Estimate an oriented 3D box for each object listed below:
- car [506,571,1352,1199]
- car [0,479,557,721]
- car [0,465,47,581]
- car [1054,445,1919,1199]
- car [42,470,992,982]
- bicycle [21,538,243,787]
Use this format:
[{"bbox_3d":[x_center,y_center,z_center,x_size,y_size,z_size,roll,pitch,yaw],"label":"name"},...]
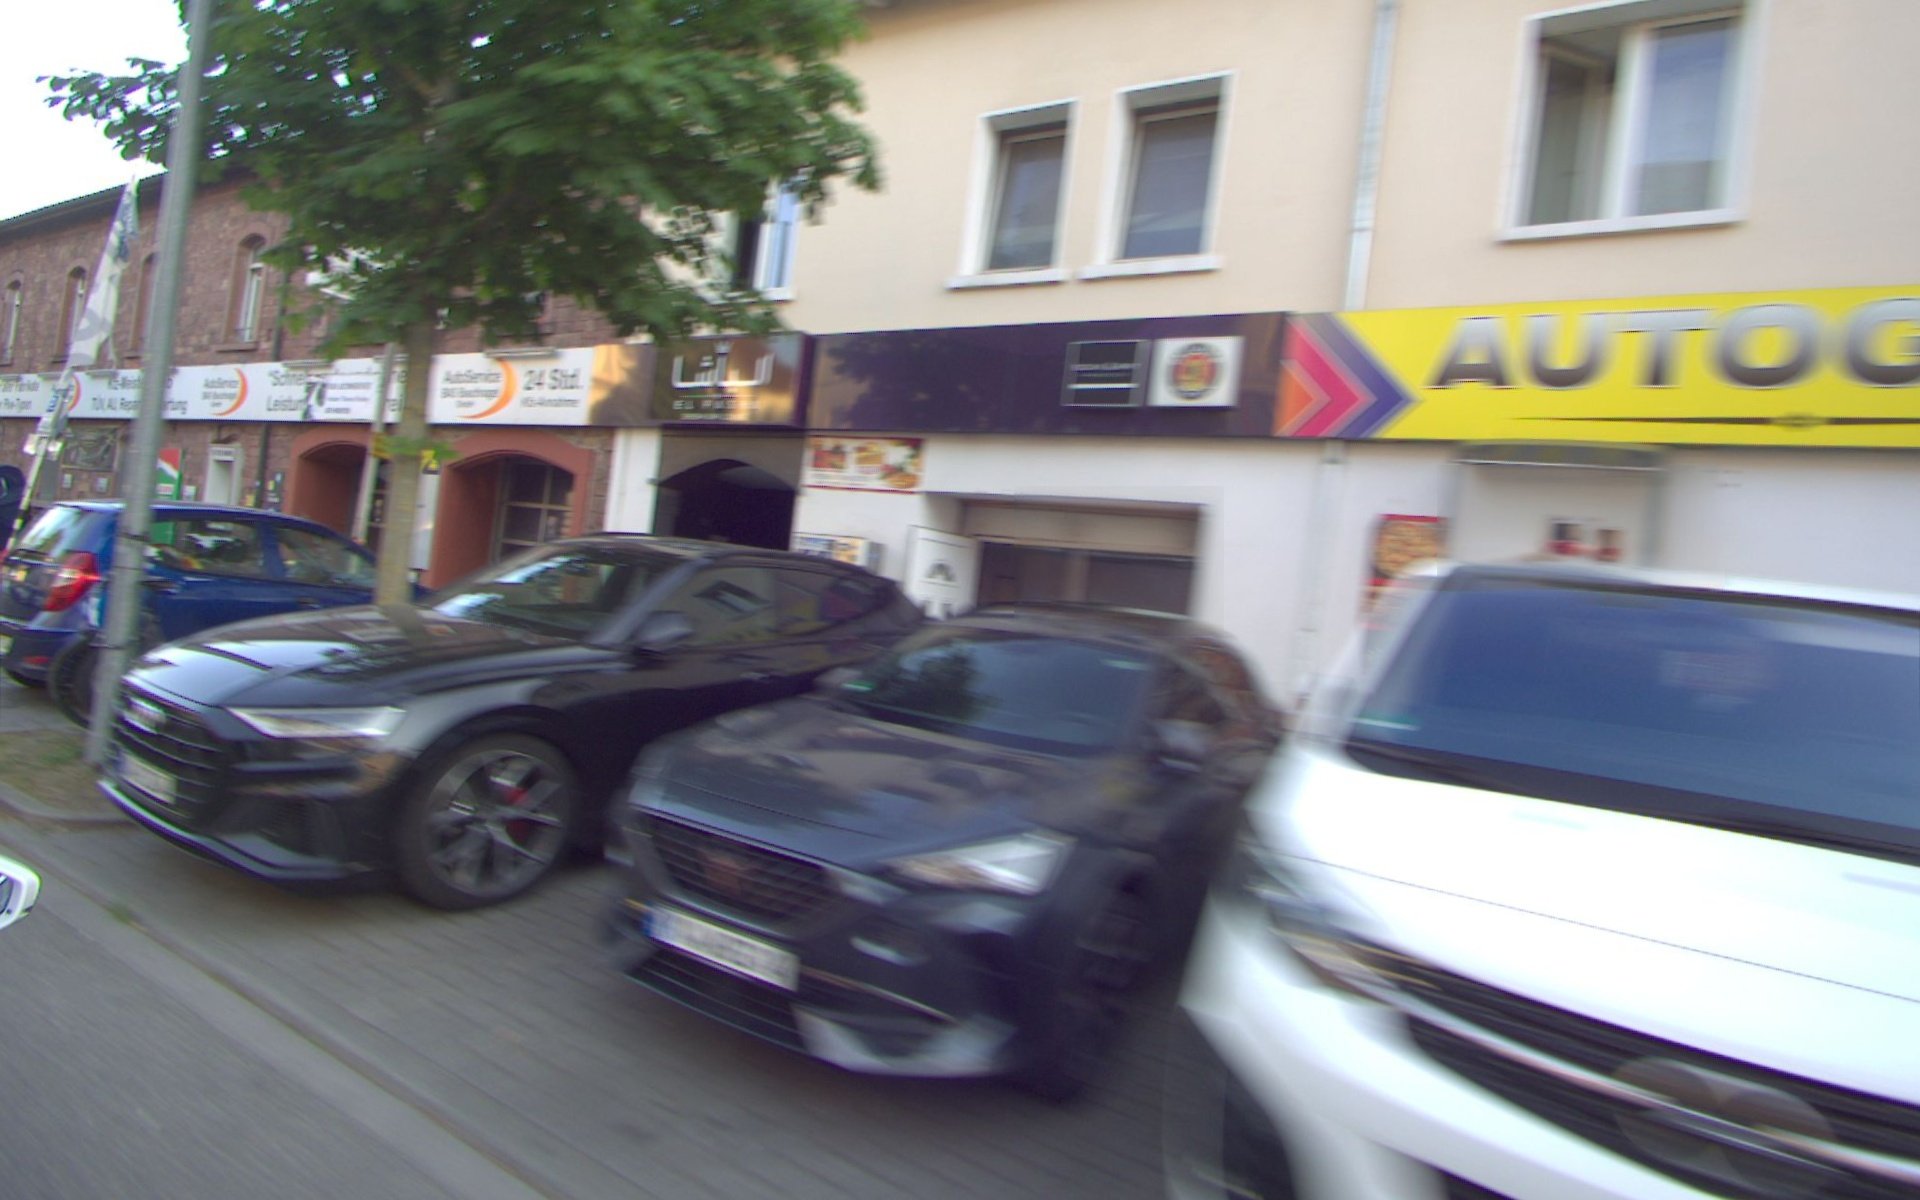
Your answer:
[{"bbox_3d":[0.339,0.785,4.599,1.861,1.516,3.986,7,2,32],"label":"car"},{"bbox_3d":[-5.848,-0.025,8.774,1.814,1.566,3.988,7,2,30],"label":"car"},{"bbox_3d":[-16.772,-1.368,14.605,1.982,1.777,4.790,8,3,29],"label":"car"},{"bbox_3d":[2.272,0.759,3.351,1.979,1.887,4.585,7,3,32],"label":"car"},{"bbox_3d":[-1.910,0.420,5.853,1.967,1.653,4.694,7,2,32],"label":"car"},{"bbox_3d":[-4.871,0.314,5.879,1.732,1.207,0.309,7,0,30],"label":"bicycle"}]
